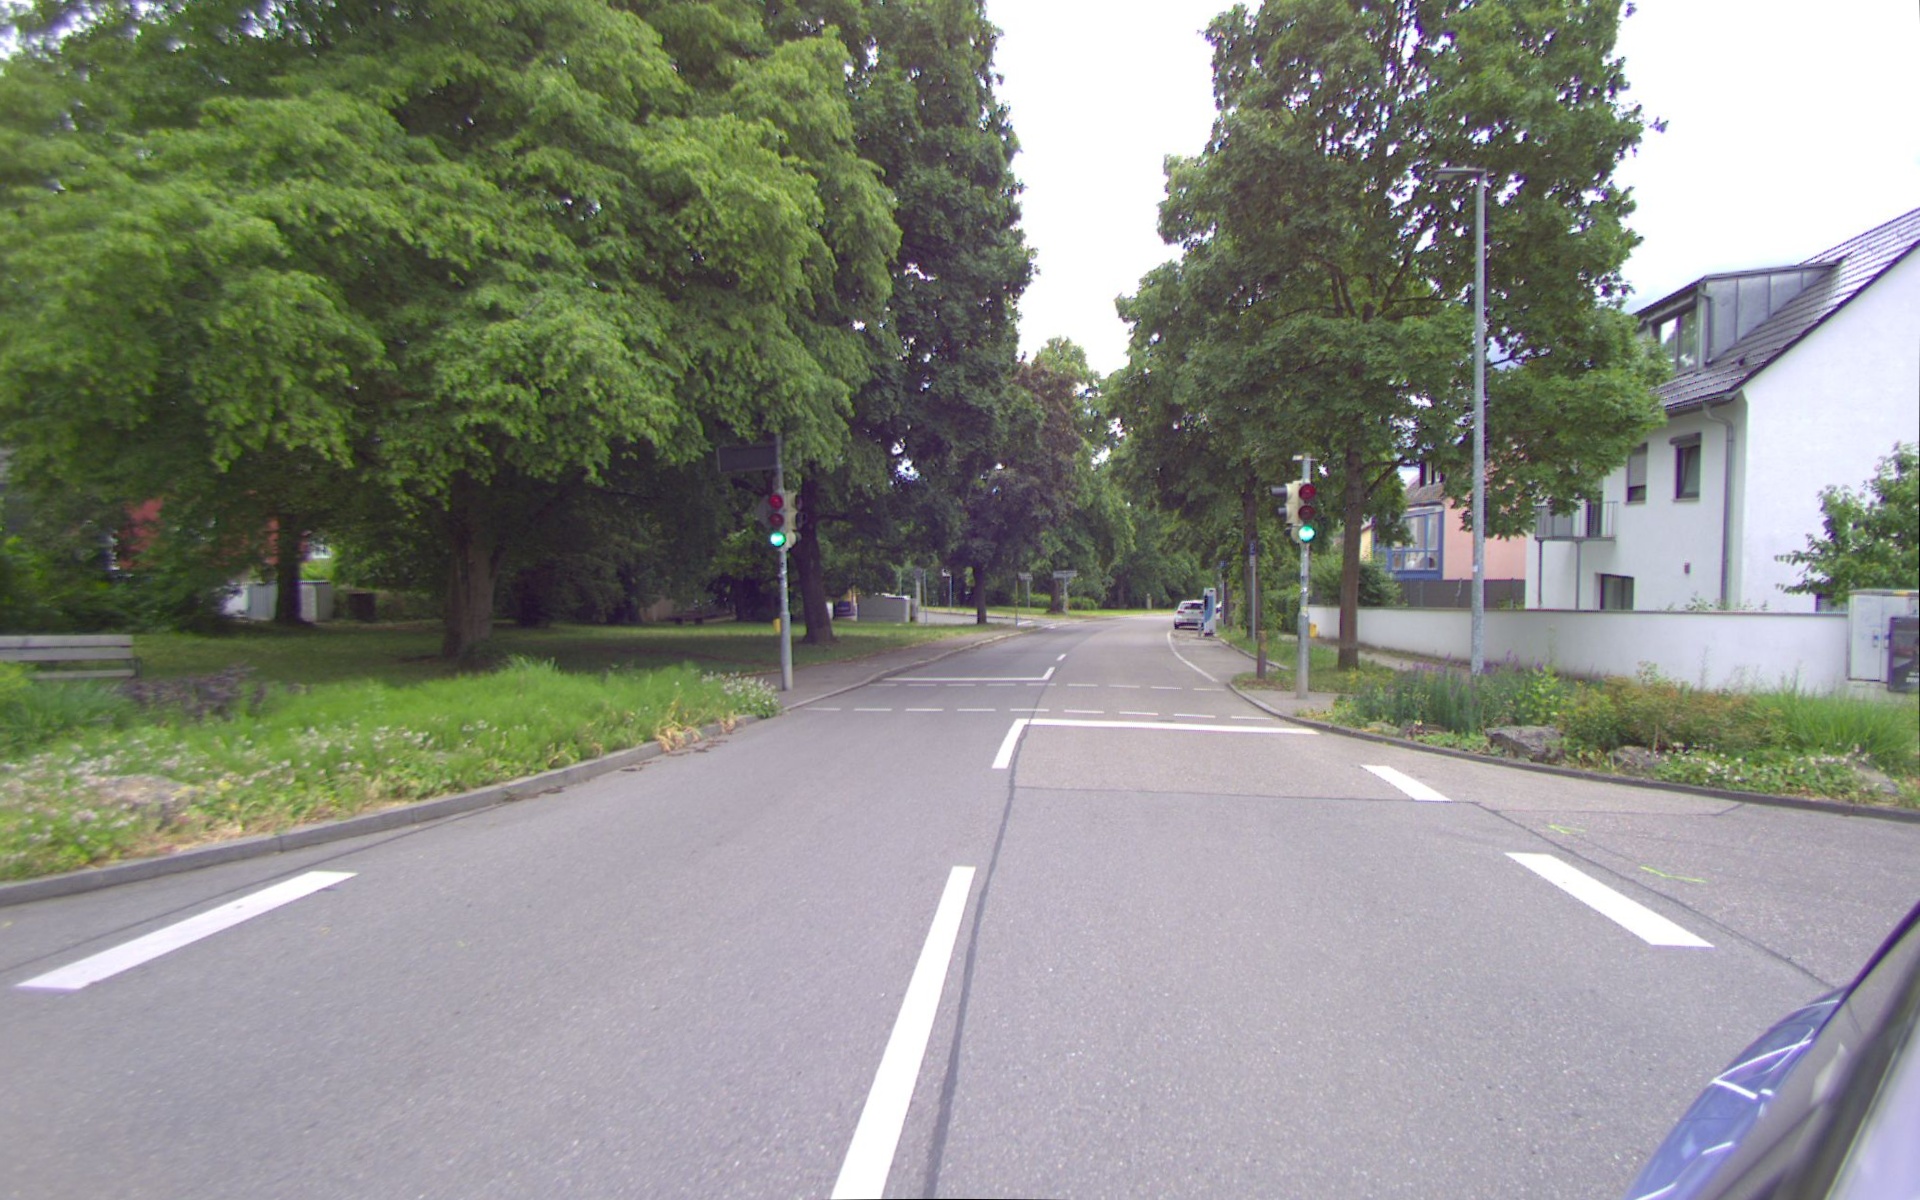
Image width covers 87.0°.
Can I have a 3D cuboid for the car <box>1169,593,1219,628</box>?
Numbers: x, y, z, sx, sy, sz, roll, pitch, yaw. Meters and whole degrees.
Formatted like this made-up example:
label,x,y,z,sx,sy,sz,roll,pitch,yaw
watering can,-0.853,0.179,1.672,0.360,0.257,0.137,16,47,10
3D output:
label,x,y,z,sx,sy,sz,roll,pitch,yaw
car,12.230,0.518,52.811,1.976,1.571,3.973,2,3,21
